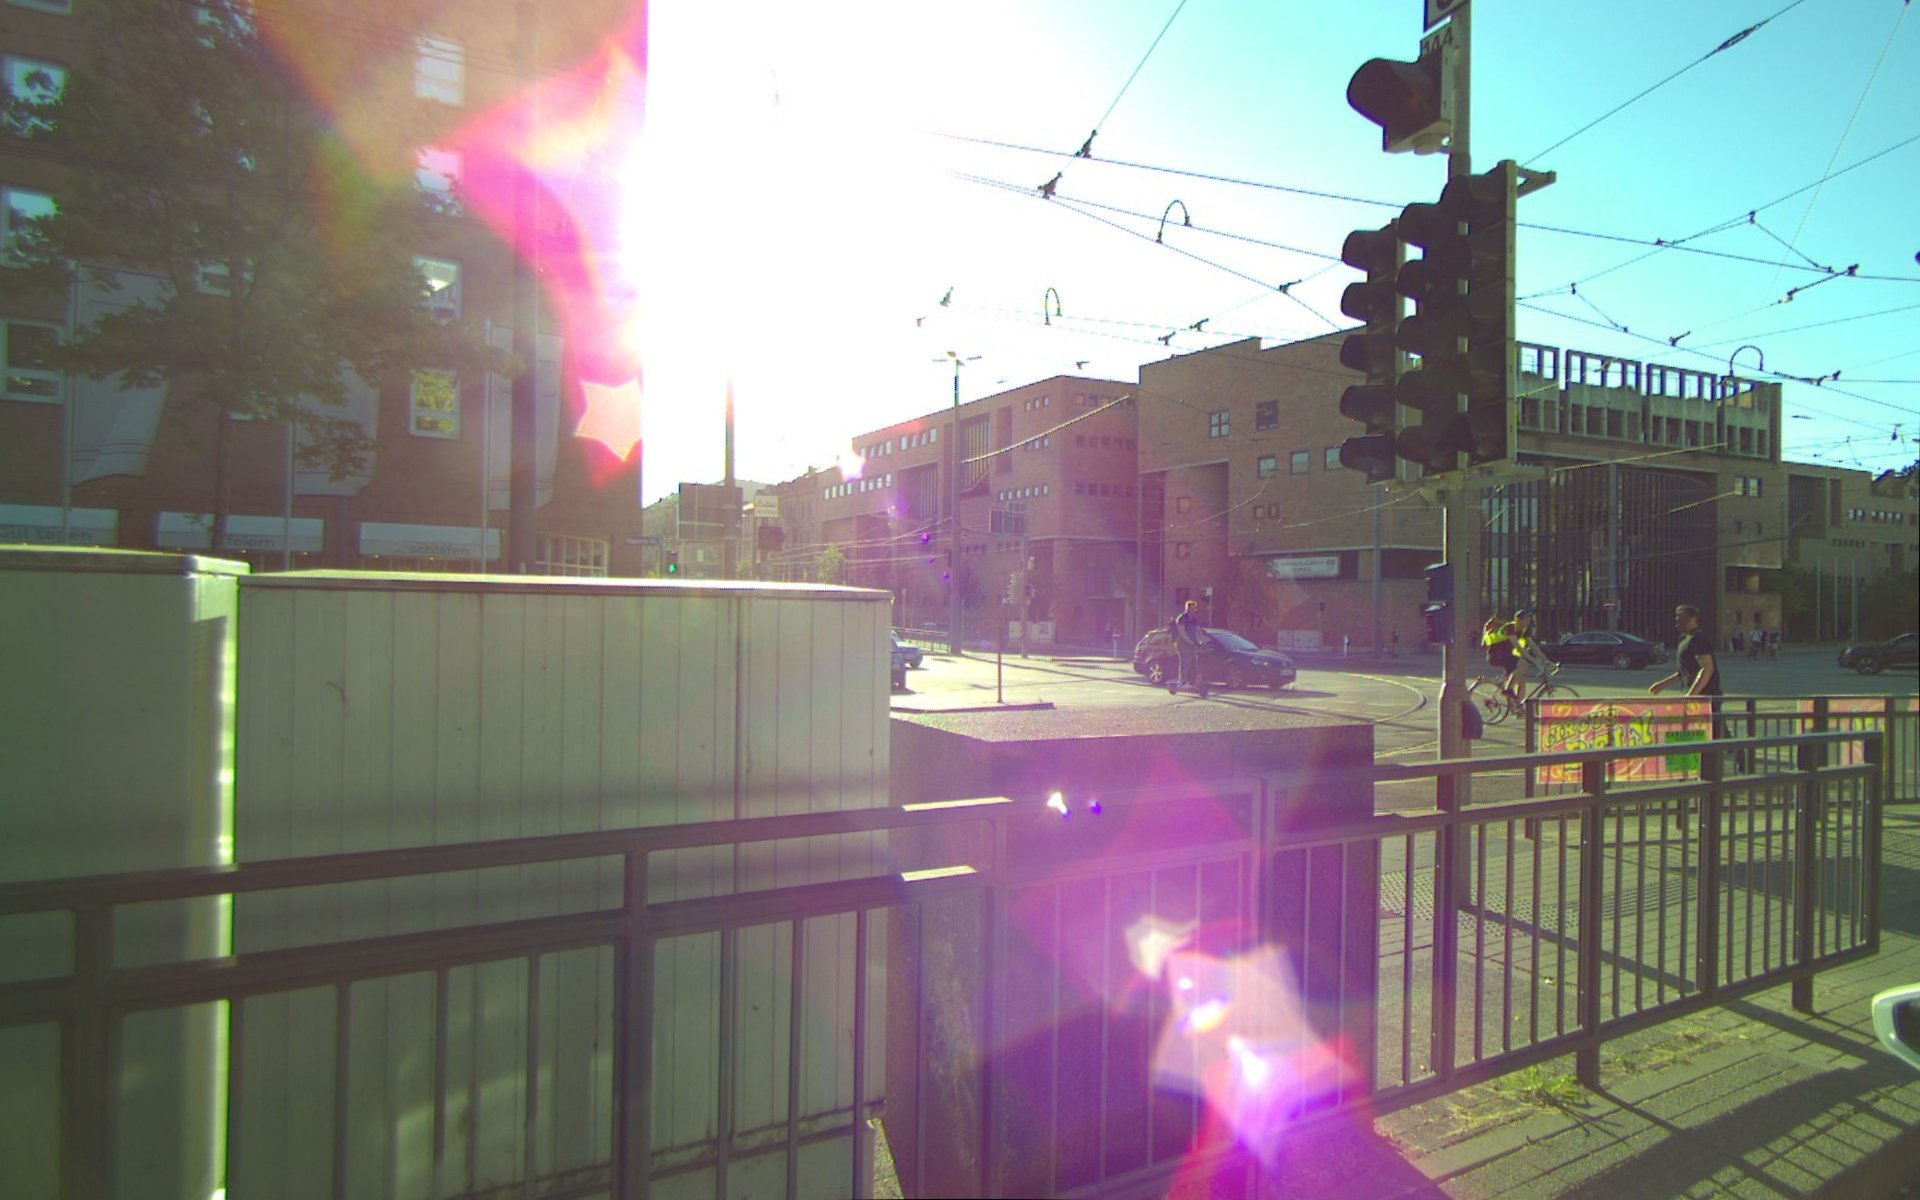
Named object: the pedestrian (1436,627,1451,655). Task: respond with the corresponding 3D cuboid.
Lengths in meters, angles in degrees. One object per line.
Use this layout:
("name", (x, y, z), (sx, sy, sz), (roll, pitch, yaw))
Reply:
("pedestrian", (28.597, 2.428, 59.413), (0.533, 1.672, 0.619), (2, -2, -37))

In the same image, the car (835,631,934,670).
("car", (-3.023, 1.928, 39.392), (1.980, 1.398, 4.351), (1, -2, -35))

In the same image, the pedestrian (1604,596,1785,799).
("pedestrian", (7.248, 0.906, 9.928), (1.032, 1.846, 1.200), (2, -1, -36))

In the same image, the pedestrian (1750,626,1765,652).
("pedestrian", (55.569, 2.729, 69.982), (0.538, 1.834, 0.640), (1, -1, -23))

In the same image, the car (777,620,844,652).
("car", (-8.476, 2.011, 56.702), (1.981, 1.719, 4.316), (1, -2, -36))

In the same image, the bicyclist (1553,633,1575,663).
("bicyclist", (28.292, 2.238, 47.078), (0.810, 1.384, 0.398), (-1, -2, 45))

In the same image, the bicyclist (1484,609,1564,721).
("bicyclist", (8.787, 0.991, 15.675), (0.631, 1.686, 0.901), (1, -1, -27))

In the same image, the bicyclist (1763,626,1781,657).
("bicyclist", (45.102, 2.282, 55.818), (0.782, 1.697, 0.589), (1, -1, -36))

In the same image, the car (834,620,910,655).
("car", (-4.603, 1.904, 52.056), (1.981, 1.719, 4.316), (1, -2, -36))

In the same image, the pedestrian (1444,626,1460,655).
("pedestrian", (28.192, 2.308, 57.538), (0.533, 1.672, 0.619), (1, -1, -36))

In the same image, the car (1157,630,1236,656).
("car", (13.551, 2.423, 57.738), (1.780, 1.411, 4.207), (2, -2, -39))

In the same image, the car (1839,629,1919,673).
("car", (34.327, 1.830, 36.208), (1.783, 1.527, 3.824), (2, -2, -43))

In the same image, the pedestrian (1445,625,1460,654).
("pedestrian", (28.539, 2.307, 58.236), (0.534, 1.672, 0.618), (1, -2, -39))

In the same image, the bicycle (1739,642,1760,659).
("bicycle", (44.345, 2.830, 56.429), (1.823, 0.893, 0.509), (2, -2, -38))

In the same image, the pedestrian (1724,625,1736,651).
("pedestrian", (54.801, 2.730, 71.486), (0.538, 1.834, 0.489), (1, -1, -23))

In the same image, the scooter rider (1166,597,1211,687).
("scooter rider", (5.003, 0.916, 22.019), (0.727, 1.921, 0.661), (1, -2, -27))

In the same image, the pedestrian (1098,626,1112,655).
("pedestrian", (8.516, 2.391, 58.982), (0.608, 1.635, 0.540), (-1, 2, -35))

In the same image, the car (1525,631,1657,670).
("car", (25.487, 1.996, 40.712), (1.780, 1.453, 4.207), (2, -2, -39))

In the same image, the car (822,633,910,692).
("car", (-2.512, 1.588, 26.311), (1.613, 1.416, 3.294), (1, -2, -18))

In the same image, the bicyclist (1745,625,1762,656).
("bicyclist", (44.519, 2.265, 56.355), (0.782, 1.697, 0.589), (1, -1, -36))

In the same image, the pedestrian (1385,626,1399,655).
("pedestrian", (24.379, 2.279, 56.645), (0.560, 1.635, 0.545), (0, -1, 1))

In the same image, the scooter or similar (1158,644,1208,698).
("scooter or similar", (4.882, 1.541, 22.060), (0.397, 1.119, 1.202), (1, -1, -26))

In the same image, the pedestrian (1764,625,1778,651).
("pedestrian", (56.813, 2.679, 70.360), (0.538, 1.803, 0.521), (1, -1, -23))

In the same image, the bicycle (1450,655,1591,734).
("bicycle", (8.744, 1.448, 15.753), (0.621, 1.078, 1.916), (1, -1, -27))

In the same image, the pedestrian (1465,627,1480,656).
("pedestrian", (29.411, 2.385, 57.622), (0.533, 1.672, 0.619), (1, -1, -35))

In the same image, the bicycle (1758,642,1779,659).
("bicycle", (44.997, 2.800, 55.872), (1.823, 0.893, 0.509), (2, -2, -38))

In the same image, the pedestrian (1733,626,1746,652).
("pedestrian", (56.125, 2.793, 72.328), (0.538, 1.834, 0.489), (1, -1, -23))

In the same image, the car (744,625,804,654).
("car", (-11.445, 2.390, 61.721), (1.981, 1.719, 4.316), (1, -2, -36))

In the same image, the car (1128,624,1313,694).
("car", (6.531, 1.421, 25.575), (1.980, 1.538, 4.356), (0, -1, -35))
